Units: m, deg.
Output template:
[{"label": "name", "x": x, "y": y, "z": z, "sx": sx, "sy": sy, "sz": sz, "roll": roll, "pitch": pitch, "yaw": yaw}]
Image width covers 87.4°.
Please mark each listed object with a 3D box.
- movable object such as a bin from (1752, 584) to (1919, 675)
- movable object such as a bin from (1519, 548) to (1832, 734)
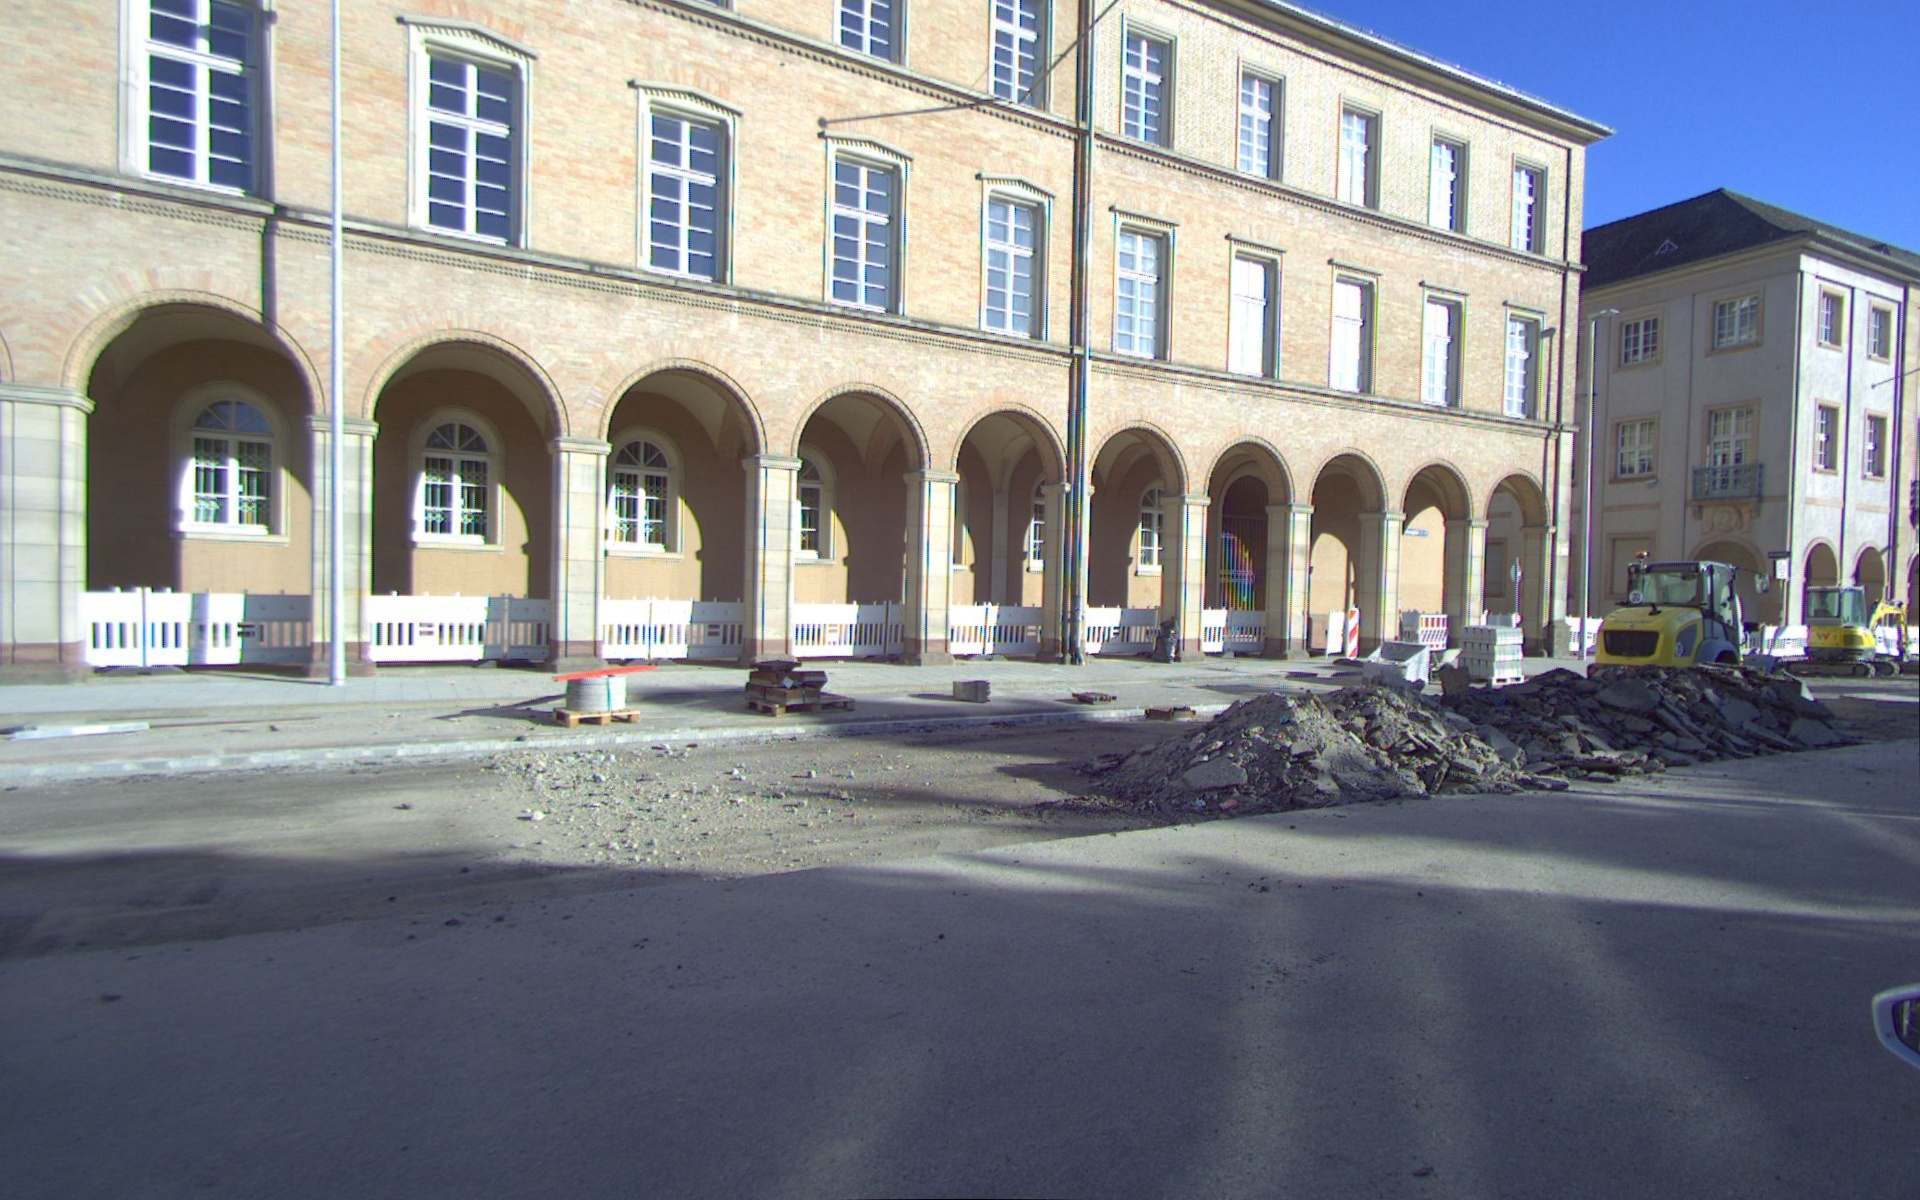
[{"label": "movable object such as a bin", "x": 24.977, "y": 0.798, "z": 28.250, "sx": 4.399, "sy": 2.380, "sz": 2.538, "roll": 1, "pitch": 1, "yaw": -25}, {"label": "movable object such as a bin", "x": 11.092, "y": 0.537, "z": 15.544, "sx": 4.557, "sy": 2.509, "sz": 2.066, "roll": 0, "pitch": 1, "yaw": -27}]
